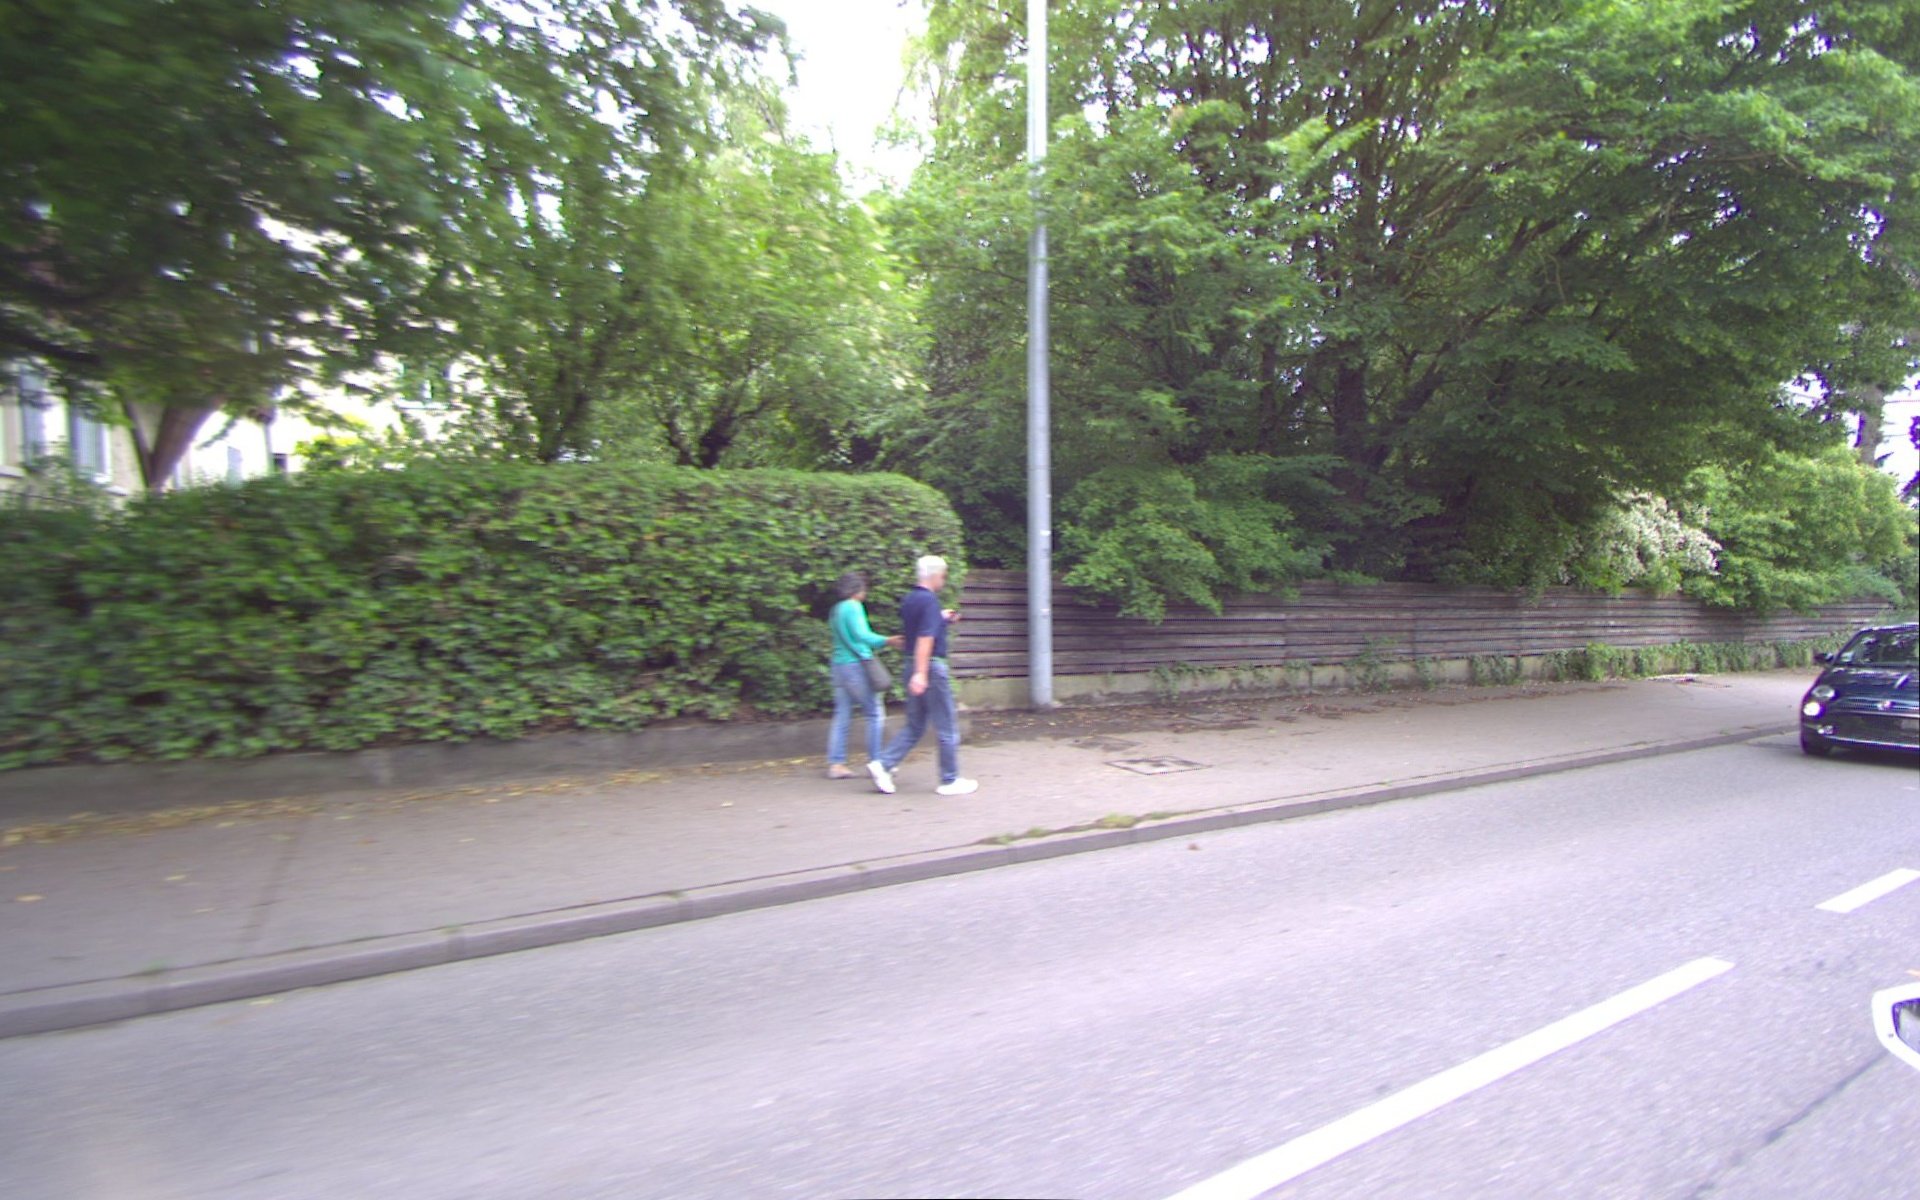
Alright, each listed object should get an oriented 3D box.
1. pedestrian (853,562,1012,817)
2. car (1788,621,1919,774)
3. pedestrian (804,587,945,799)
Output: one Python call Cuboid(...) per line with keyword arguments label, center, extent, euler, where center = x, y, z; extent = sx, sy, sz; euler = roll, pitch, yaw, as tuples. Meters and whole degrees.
Cuboid(label="pedestrian", center=(-0.188, 0.590, 7.195), extent=(0.622, 1.684, 0.914), euler=(3, 2, 44))
Cuboid(label="car", center=(10.880, 1.011, 11.295), extent=(3.499, 1.491, 1.707), euler=(1, 0, -38))
Cuboid(label="pedestrian", center=(-0.647, 0.662, 7.604), extent=(0.662, 1.469, 0.753), euler=(6, 4, 44))
